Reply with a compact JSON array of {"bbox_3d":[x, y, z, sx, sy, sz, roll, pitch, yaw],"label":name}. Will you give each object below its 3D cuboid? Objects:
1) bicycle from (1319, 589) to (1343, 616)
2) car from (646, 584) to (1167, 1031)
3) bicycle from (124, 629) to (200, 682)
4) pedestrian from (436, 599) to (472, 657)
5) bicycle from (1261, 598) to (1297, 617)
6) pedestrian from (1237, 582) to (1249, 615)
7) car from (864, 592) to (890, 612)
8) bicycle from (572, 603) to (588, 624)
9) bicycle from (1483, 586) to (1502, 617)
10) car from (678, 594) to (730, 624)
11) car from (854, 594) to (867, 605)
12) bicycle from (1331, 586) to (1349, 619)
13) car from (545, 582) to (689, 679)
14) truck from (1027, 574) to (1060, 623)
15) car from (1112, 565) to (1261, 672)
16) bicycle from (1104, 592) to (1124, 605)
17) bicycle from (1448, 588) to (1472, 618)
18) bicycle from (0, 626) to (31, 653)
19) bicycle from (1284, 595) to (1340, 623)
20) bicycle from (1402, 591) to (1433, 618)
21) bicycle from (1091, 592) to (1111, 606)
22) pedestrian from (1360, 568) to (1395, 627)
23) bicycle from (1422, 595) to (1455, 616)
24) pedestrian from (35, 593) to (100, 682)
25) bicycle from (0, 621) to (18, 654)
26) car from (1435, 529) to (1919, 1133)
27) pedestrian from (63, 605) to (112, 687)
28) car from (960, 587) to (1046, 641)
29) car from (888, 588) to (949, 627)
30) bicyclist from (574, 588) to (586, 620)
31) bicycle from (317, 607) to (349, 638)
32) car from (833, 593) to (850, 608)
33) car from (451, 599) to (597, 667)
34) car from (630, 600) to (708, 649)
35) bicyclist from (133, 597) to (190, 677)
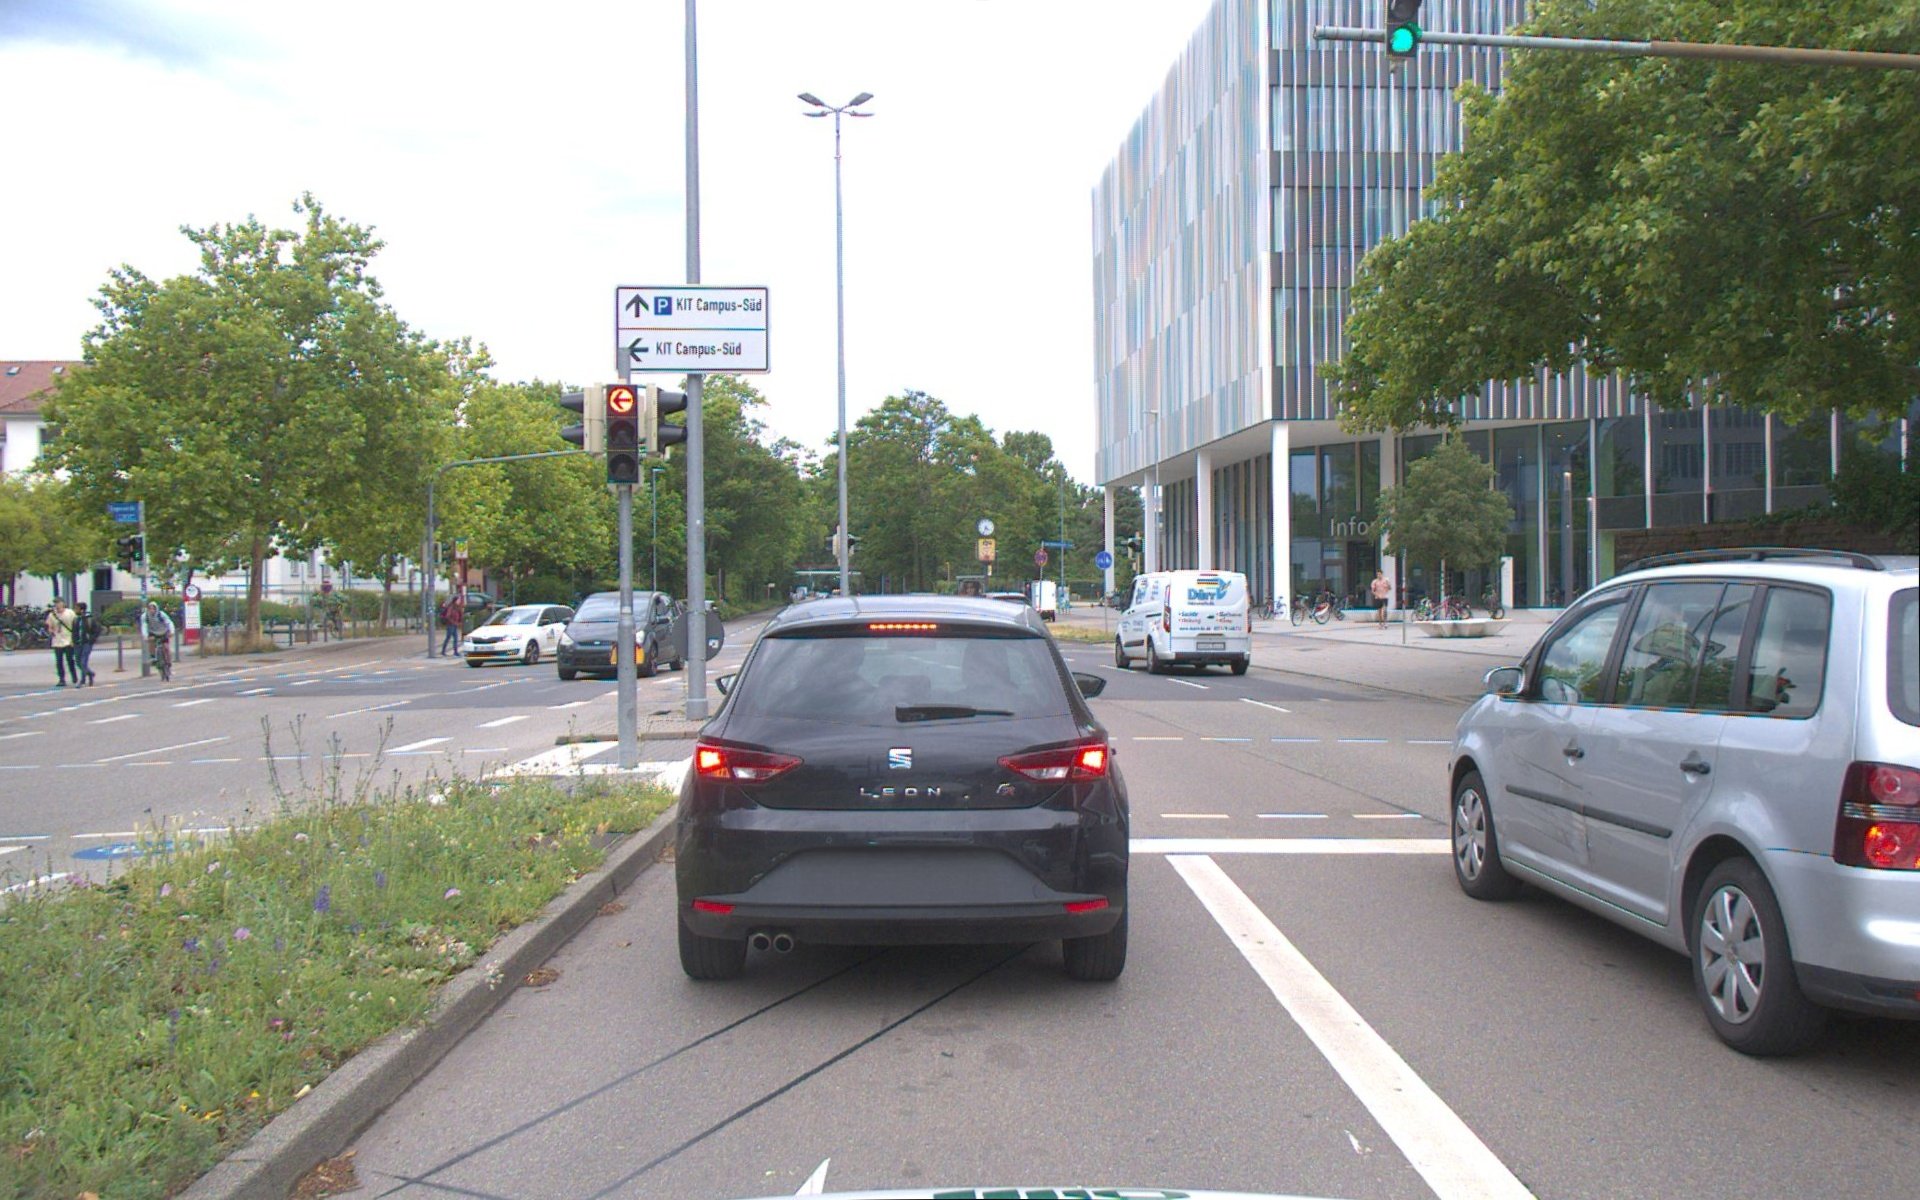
[{"bbox_3d":[15.602,0.111,69.568,0.607,1.064,1.704,-2,1,26],"label":"bicycle"},{"bbox_3d":[-0.127,0.669,7.381,1.717,1.457,3.770,1,1,2],"label":"car"},{"bbox_3d":[-16.927,1.165,35.122,0.652,1.081,1.620,0,-1,7],"label":"bicycle"},{"bbox_3d":[-14.675,0.805,47.988,0.858,1.614,0.542,-2,1,-8],"label":"pedestrian"},{"bbox_3d":[13.889,0.331,72.042,1.450,0.761,0.565,-2,1,-4],"label":"bicycle"},{"bbox_3d":[12.174,-0.066,71.044,0.462,1.385,0.446,-2,1,9],"label":"pedestrian"},{"bbox_3d":[-6.250,0.160,124.369,1.861,1.377,3.879,-2,1,-4],"label":"car"},{"bbox_3d":[-19.996,0.708,87.096,0.478,1.023,1.590,1,2,-1],"label":"bicycle"},{"bbox_3d":[19.664,0.057,61.115,0.609,1.074,1.950,-2,1,19],"label":"bicycle"},{"bbox_3d":[-15.226,0.504,98.473,1.721,1.615,4.004,-2,1,12],"label":"car"},{"bbox_3d":[-11.565,-0.080,192.156,1.475,1.214,3.160,-2,1,-4],"label":"car"},{"bbox_3d":[15.347,0.098,66.772,0.515,1.275,1.667,-2,1,17],"label":"bicycle"},{"bbox_3d":[-6.658,0.554,32.552,1.882,1.693,4.398,-2,0,-1],"label":"car"},{"bbox_3d":[4.067,-0.081,80.767,1.291,2.282,3.401,-2,1,-1],"label":"truck"},{"bbox_3d":[4.507,0.327,33.537,1.929,2.006,4.337,1,1,-7],"label":"car"},{"bbox_3d":[10.151,-0.073,109.217,1.218,0.837,0.479,2,-1,-23],"label":"bicycle"},{"bbox_3d":[18.760,0.102,62.028,0.792,1.074,1.950,-2,1,19],"label":"bicycle"},{"bbox_3d":[-32.764,1.362,57.036,1.190,0.896,0.262,-3,1,-24],"label":"bicycle"},{"bbox_3d":[12.468,0.302,58.535,1.860,0.914,0.693,-3,1,-22],"label":"bicycle"},{"bbox_3d":[17.636,0.172,63.717,0.682,0.963,1.981,-2,1,30],"label":"bicycle"},{"bbox_3d":[9.480,-0.065,111.418,1.241,0.863,0.479,2,-1,-23],"label":"bicycle"},{"bbox_3d":[13.037,-0.075,51.610,0.830,1.795,0.767,-2,1,-1],"label":"pedestrian"},{"bbox_3d":[18.241,0.209,63.068,1.515,0.728,0.511,-3,1,-44],"label":"bicycle"},{"bbox_3d":[-18.297,0.783,33.923,0.822,1.770,0.831,-3,-4,13],"label":"pedestrian"},{"bbox_3d":[-32.923,1.293,56.260,1.381,1.070,0.585,-2,1,-21],"label":"bicycle"},{"bbox_3d":[3.367,0.612,6.500,1.694,1.631,4.104,0,0,-2],"label":"car"},{"bbox_3d":[-17.192,0.918,32.605,0.778,1.585,0.695,0,-3,-21],"label":"pedestrian"},{"bbox_3d":[1.361,0.441,54.285,1.916,1.652,3.736,0,1,-14],"label":"car"},{"bbox_3d":[-1.946,0.314,76.710,1.883,1.693,4.098,-2,1,-15],"label":"car"},{"bbox_3d":[-19.989,0.222,87.078,0.481,1.653,0.588,1,1,-1],"label":"bicyclist"},{"bbox_3d":[-23.268,0.840,61.377,0.596,1.079,2.041,-2,1,-7],"label":"bicycle"},{"bbox_3d":[-13.280,0.048,184.838,1.663,1.530,4.003,-2,1,-7],"label":"car"},{"bbox_3d":[-10.807,0.791,41.302,1.668,1.456,4.231,-2,1,13],"label":"car"},{"bbox_3d":[-9.506,0.776,54.337,1.678,1.443,4.295,-2,1,1],"label":"car"},{"bbox_3d":[-16.927,0.776,35.072,0.652,1.664,0.962,0,-1,7],"label":"bicyclist"}]
